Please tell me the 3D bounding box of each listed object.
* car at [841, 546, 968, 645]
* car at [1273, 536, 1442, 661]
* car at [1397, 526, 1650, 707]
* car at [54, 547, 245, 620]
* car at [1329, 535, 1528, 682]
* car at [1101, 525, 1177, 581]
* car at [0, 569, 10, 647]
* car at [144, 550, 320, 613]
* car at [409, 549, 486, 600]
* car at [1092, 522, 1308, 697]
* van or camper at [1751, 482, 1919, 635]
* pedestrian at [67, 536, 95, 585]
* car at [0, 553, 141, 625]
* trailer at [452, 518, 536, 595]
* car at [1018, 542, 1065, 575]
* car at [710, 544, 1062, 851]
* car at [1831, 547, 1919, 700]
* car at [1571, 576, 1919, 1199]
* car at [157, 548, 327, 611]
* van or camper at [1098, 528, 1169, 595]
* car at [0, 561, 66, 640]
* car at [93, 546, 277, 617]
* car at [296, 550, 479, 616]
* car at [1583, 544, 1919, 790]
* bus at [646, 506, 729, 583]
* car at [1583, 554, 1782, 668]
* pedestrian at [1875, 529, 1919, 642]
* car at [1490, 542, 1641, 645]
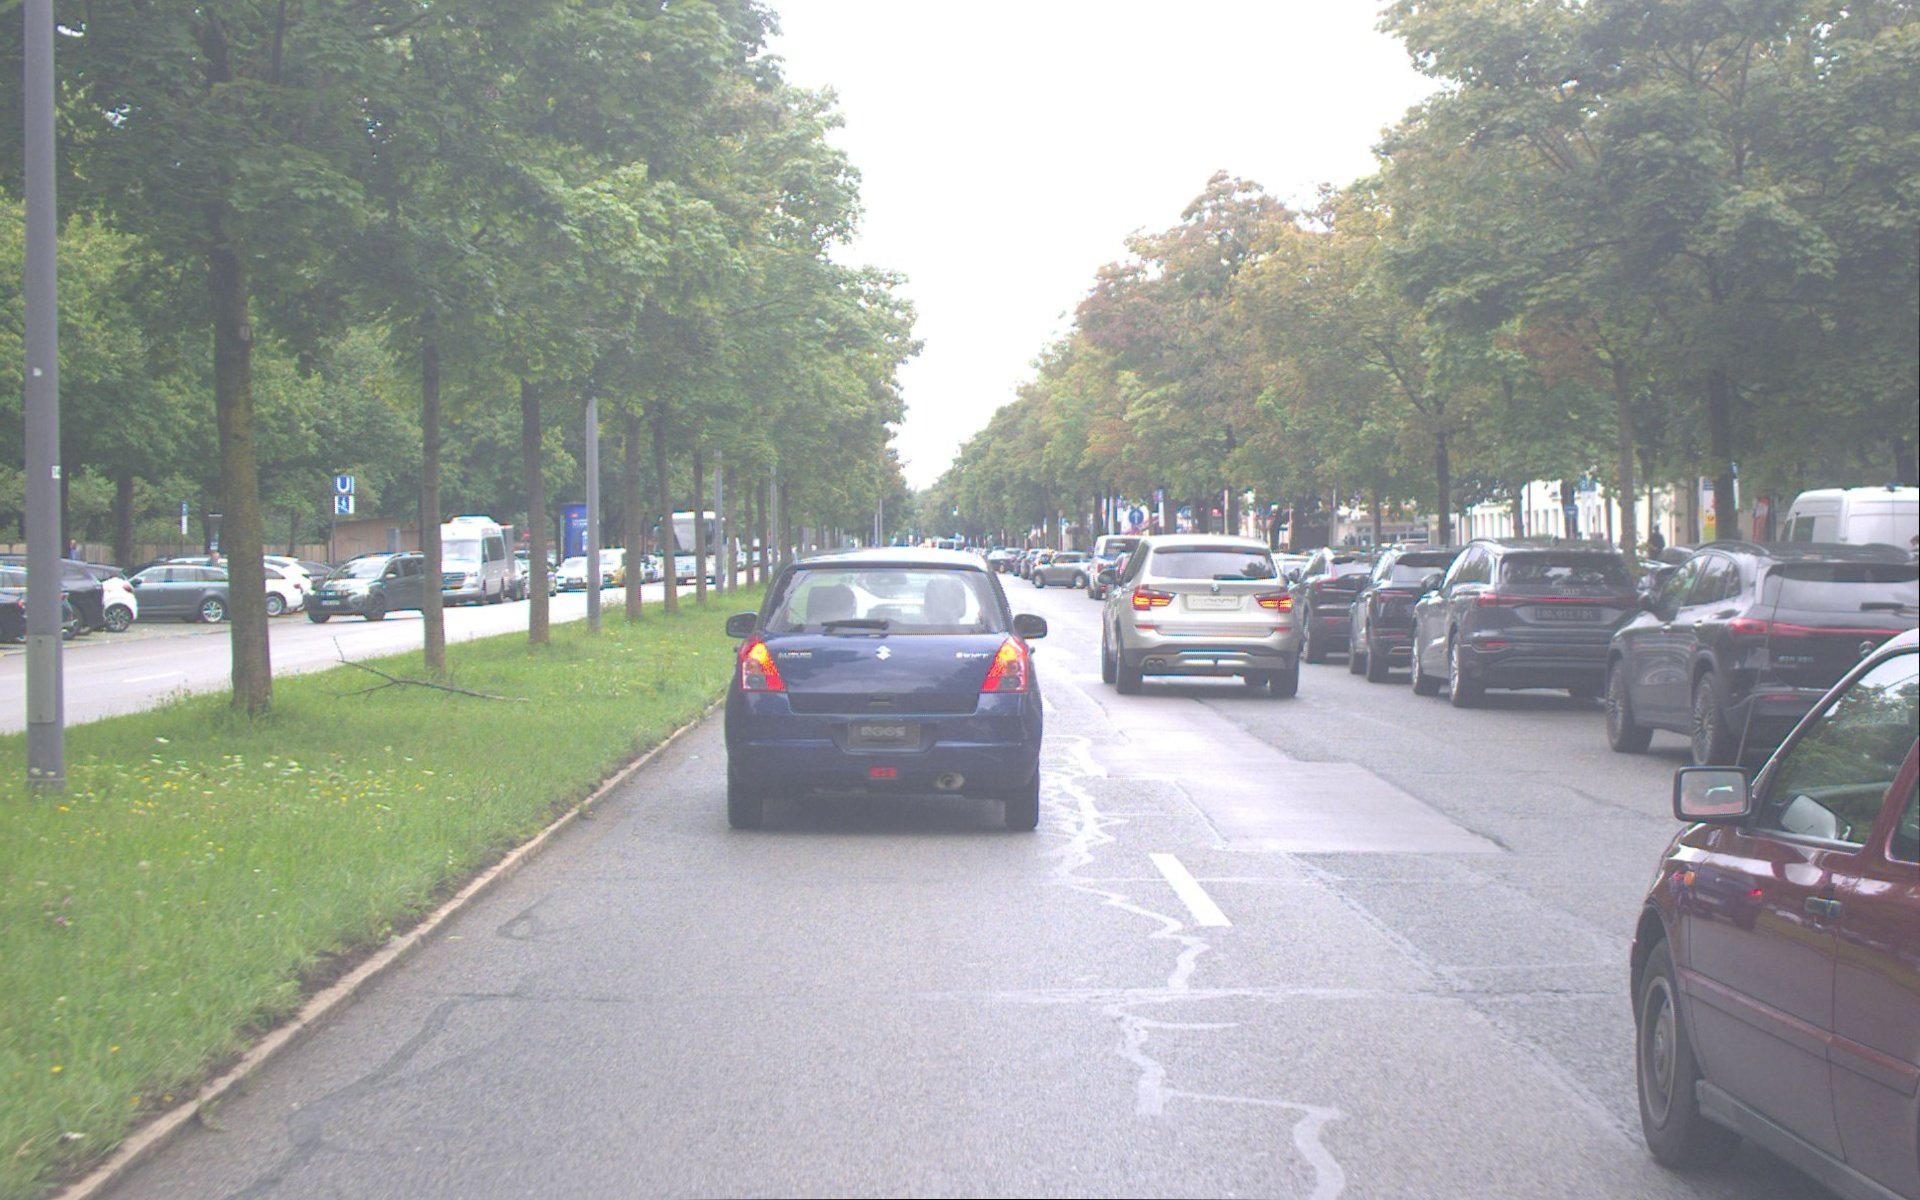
[{"bbox_3d":[-0.890,-0.106,52.732,1.850,1.442,4.098,0,1,-2],"label":"car"},{"bbox_3d":[5.439,-0.061,47.526,1.764,1.646,4.424,0,1,-1],"label":"car"},{"bbox_3d":[5.605,0.115,34.722,1.761,1.695,4.820,0,1,0],"label":"car"},{"bbox_3d":[-19.706,-0.418,83.596,4.095,1.689,1.919,-1,1,-33],"label":"car"},{"bbox_3d":[5.525,0.057,41.000,1.722,1.646,4.389,0,1,-1],"label":"car"},{"bbox_3d":[5.051,-1.343,97.527,1.684,1.548,4.307,0,1,-3],"label":"car"},{"bbox_3d":[-19.454,0.171,61.754,4.185,1.405,1.919,-1,1,-33],"label":"car"},{"bbox_3d":[-19.183,-0.501,90.665,4.095,1.579,1.919,-1,1,-33],"label":"car"},{"bbox_3d":[-16.098,-0.807,108.096,1.913,1.537,4.188,-1,1,-2],"label":"car"},{"bbox_3d":[2.482,0.059,36.417,1.850,1.737,4.098,0,1,-2],"label":"car"},{"bbox_3d":[15.607,-0.752,60.368,2.024,2.549,5.957,-1,1,0],"label":"van or camper"},{"bbox_3d":[-28.713,-1.284,112.296,0.678,1.606,0.692,-1,1,-31],"label":"pedestrian"},{"bbox_3d":[-20.026,-0.236,74.401,4.094,1.496,1.919,-1,1,-31],"label":"car"},{"bbox_3d":[-15.902,-1.504,117.681,2.106,2.531,5.577,-1,1,0],"label":"trailer"},{"bbox_3d":[3.691,-1.884,156.112,1.850,1.442,4.098,0,1,-2],"label":"car"},{"bbox_3d":[-0.450,0.463,19.563,1.789,1.550,4.000,0,1,-2],"label":"car"},{"bbox_3d":[10.185,0.239,34.288,1.763,1.483,4.001,1,1,-3],"label":"car"},{"bbox_3d":[2.451,0.696,7.053,1.622,1.449,3.950,0,1,-1],"label":"car"},{"bbox_3d":[-19.544,-0.580,93.614,4.095,1.647,1.919,-1,1,-33],"label":"car"},{"bbox_3d":[5.205,-1.188,103.739,1.944,1.968,4.306,0,1,0],"label":"van or camper"},{"bbox_3d":[-19.243,0.030,64.998,4.095,1.464,1.919,-1,1,-33],"label":"car"},{"bbox_3d":[-19.527,-0.484,86.703,4.095,1.689,1.919,-1,1,-33],"label":"car"},{"bbox_3d":[-14.011,-0.424,84.253,1.917,1.537,4.178,0,1,40],"label":"car"},{"bbox_3d":[5.804,0.401,24.597,1.761,1.584,4.453,0,1,-2],"label":"car"},{"bbox_3d":[-12.692,-2.609,161.039,2.738,3.366,12.013,-2,1,0],"label":"bus"},{"bbox_3d":[9.838,0.119,47.074,1.747,1.474,4.009,0,1,-2],"label":"car"},{"bbox_3d":[15.702,-0.237,56.815,0.875,1.845,0.903,1,1,-1],"label":"pedestrian"},{"bbox_3d":[9.589,-0.133,54.709,1.684,1.580,4.009,0,1,0],"label":"car"}]
